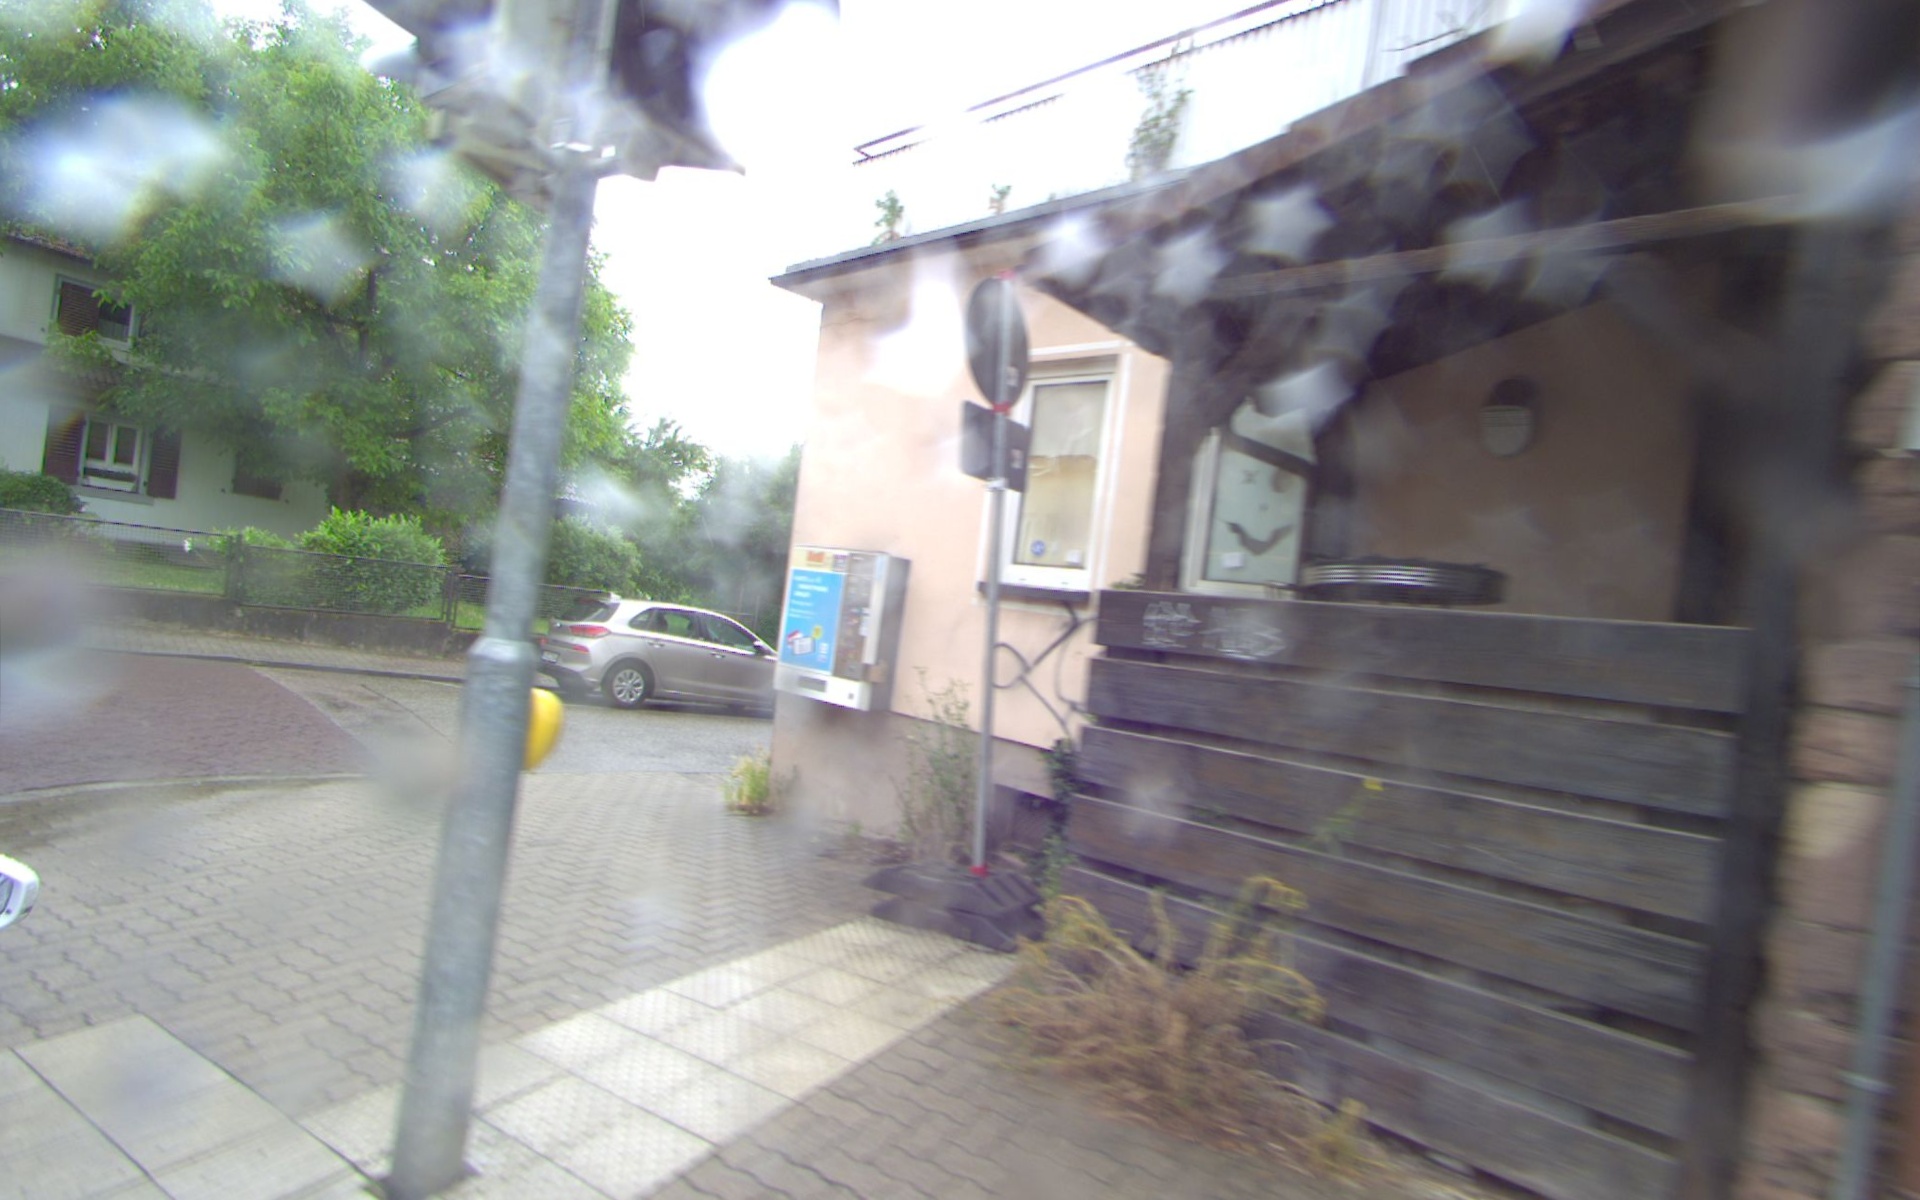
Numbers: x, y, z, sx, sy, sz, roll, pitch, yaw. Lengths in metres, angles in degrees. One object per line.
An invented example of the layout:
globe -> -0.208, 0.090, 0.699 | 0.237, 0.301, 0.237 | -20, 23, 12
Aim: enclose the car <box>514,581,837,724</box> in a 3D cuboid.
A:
car -> -3.977, 0.802, 14.472 | 3.978, 1.488, 1.771 | 10, -2, -43
